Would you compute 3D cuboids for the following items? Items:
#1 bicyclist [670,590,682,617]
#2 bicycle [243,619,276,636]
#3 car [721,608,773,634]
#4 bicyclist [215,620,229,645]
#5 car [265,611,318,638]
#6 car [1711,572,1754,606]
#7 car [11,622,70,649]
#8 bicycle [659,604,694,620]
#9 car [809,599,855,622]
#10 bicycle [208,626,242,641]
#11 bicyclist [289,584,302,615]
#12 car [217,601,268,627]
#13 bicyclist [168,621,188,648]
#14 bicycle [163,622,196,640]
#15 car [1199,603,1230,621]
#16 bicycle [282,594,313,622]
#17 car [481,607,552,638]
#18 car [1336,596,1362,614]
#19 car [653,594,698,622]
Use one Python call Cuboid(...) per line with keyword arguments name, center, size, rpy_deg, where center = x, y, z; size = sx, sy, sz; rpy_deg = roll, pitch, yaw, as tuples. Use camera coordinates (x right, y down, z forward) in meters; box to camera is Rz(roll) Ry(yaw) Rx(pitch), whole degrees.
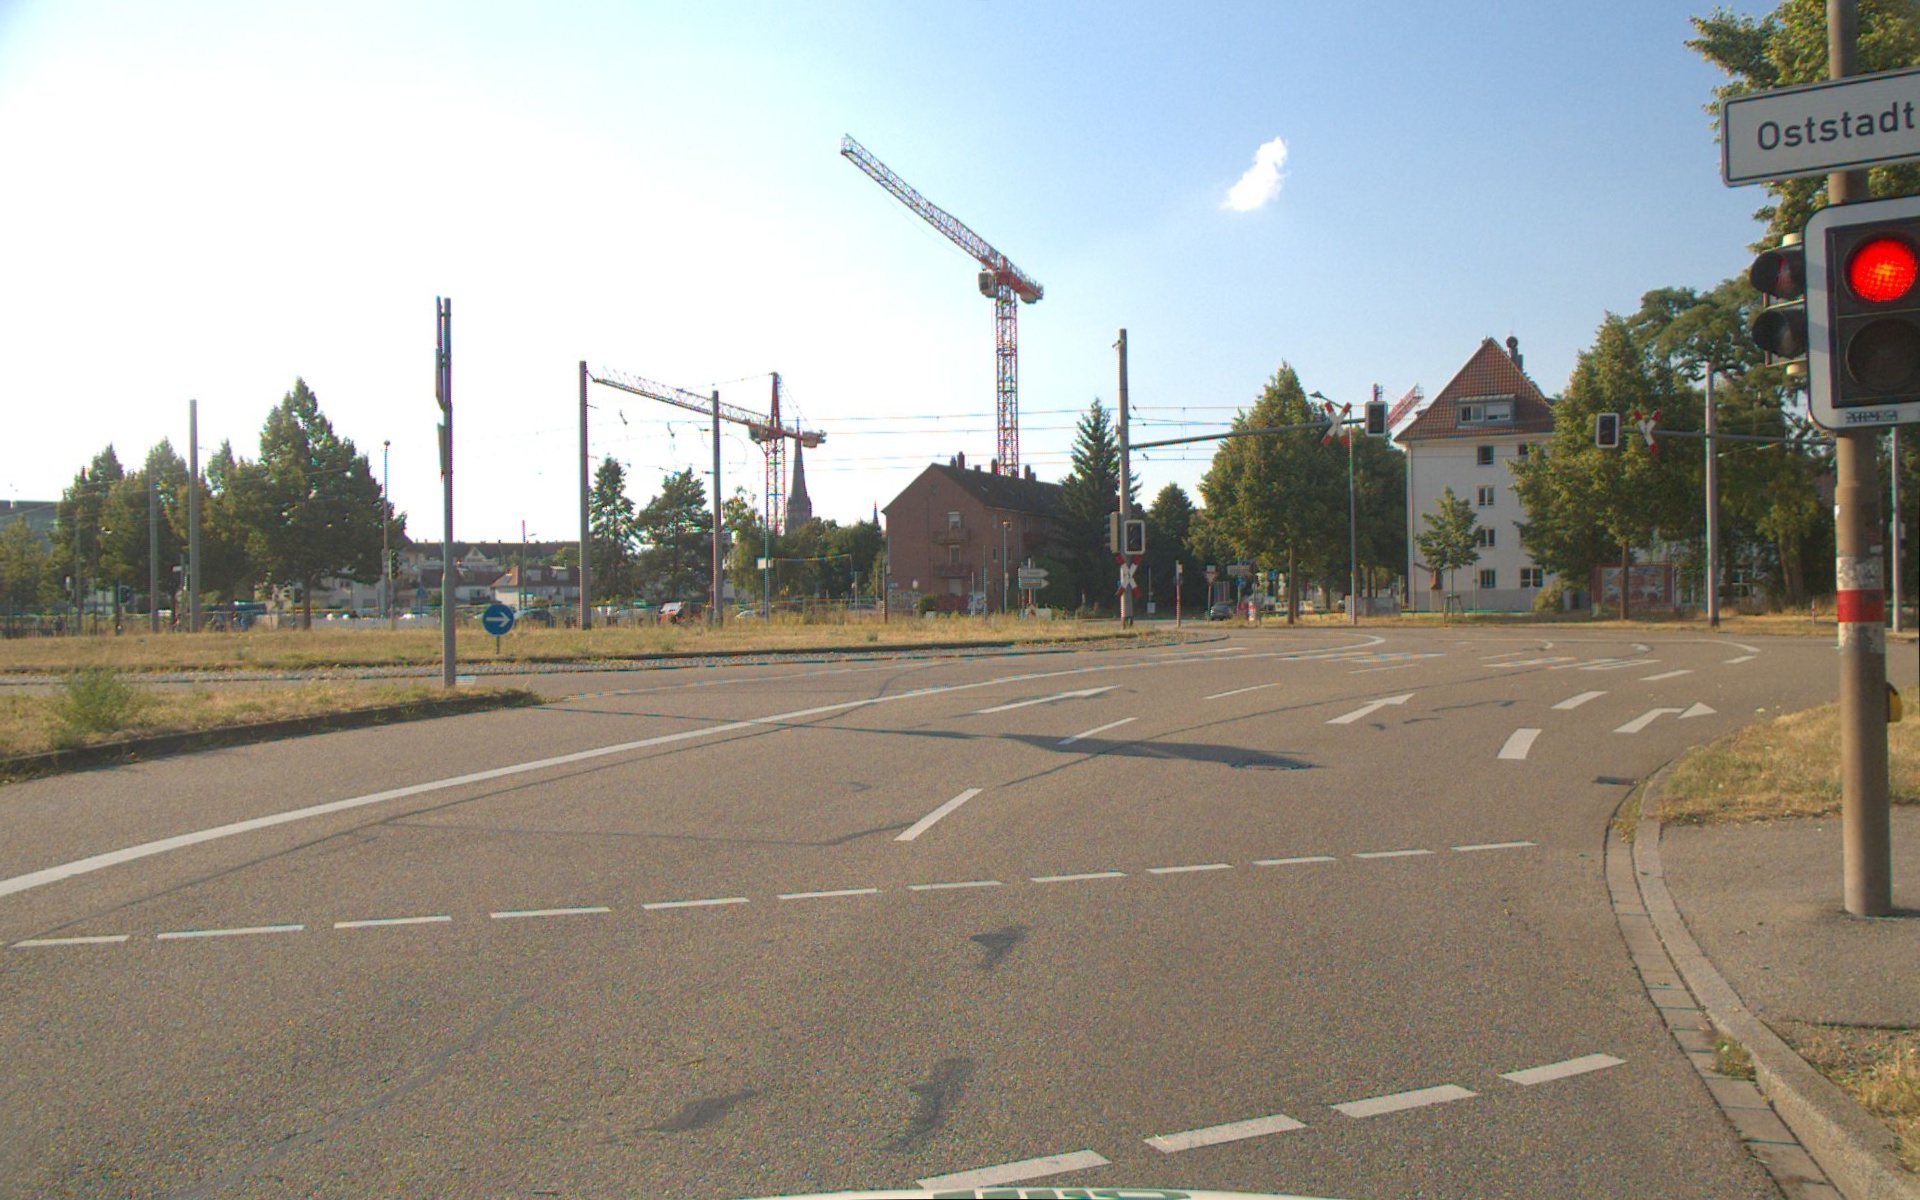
Cuboid(name="bicyclist", center=(-16.437, 0.215, 95.731), size=(0.610, 1.537, 0.418), rpy_deg=(-1, 0, -6))
Cuboid(name="bicycle", center=(-37.586, 1.491, 88.695), size=(1.595, 0.875, 0.540), rpy_deg=(-1, 0, -27))
Cuboid(name="car", center=(-17.036, 1.677, 132.290), size=(3.728, 2.049, 1.673), rpy_deg=(-1, -1, 18))
Cuboid(name="bicyclist", center=(-39.947, 1.766, 89.567), size=(0.643, 1.349, 0.515), rpy_deg=(-1, 0, -23))
Cuboid(name="car", center=(-52.462, 1.928, 129.874), size=(3.917, 2.049, 1.994), rpy_deg=(-1, 0, 34))
Cuboid(name="car", center=(38.633, -0.545, 82.685), size=(1.737, 1.646, 3.964), rpy_deg=(-1, -1, 27))
Cuboid(name="car", center=(-47.859, 1.840, 86.110), size=(2.637, 1.283, 1.103), rpy_deg=(-1, 0, -29))
Cuboid(name="bicycle", center=(-16.401, 0.694, 95.736), size=(1.949, 0.934, 0.429), rpy_deg=(-1, 0, -7))
Cuboid(name="car", center=(-11.552, 0.965, 149.165), size=(3.728, 2.049, 1.673), rpy_deg=(-1, -1, 18))
Cuboid(name="bicycle", center=(-39.827, 1.824, 89.609), size=(1.694, 0.757, 0.477), rpy_deg=(-1, 0, -25))
Cuboid(name="bicyclist", center=(-36.798, -0.003, 91.603), size=(0.600, 1.701, 0.473), rpy_deg=(0, -1, -31))
Cuboid(name="car", center=(-58.605, 1.163, 135.100), size=(3.917, 2.049, 1.994), rpy_deg=(-1, 0, 34))
Cuboid(name="bicyclist", center=(-41.845, 1.840, 88.502), size=(0.943, 1.381, 0.687), rpy_deg=(-1, 0, -27))
Cuboid(name="bicycle", center=(-41.779, 1.662, 88.528), size=(1.595, 0.875, 0.540), rpy_deg=(-1, 0, -27))
Cuboid(name="car", center=(19.355, 0.922, 125.817), size=(1.426, 1.323, 3.547), rpy_deg=(-1, 0, 24))
Cuboid(name="bicycle", center=(-36.717, 0.450, 91.628), size=(1.523, 1.499, 0.474), rpy_deg=(-1, 0, -31))
Cuboid(name="car", center=(-28.093, 1.400, 104.873), size=(3.950, 1.847, 1.977), rpy_deg=(-1, 0, -33))
Cuboid(name="car", center=(40.330, 0.535, 171.503), size=(1.953, 1.811, 3.998), rpy_deg=(1, 0, 24))
Cuboid(name="car", center=(-19.937, 0.556, 115.908), size=(1.898, 1.886, 3.961), rpy_deg=(-1, 0, -29))
